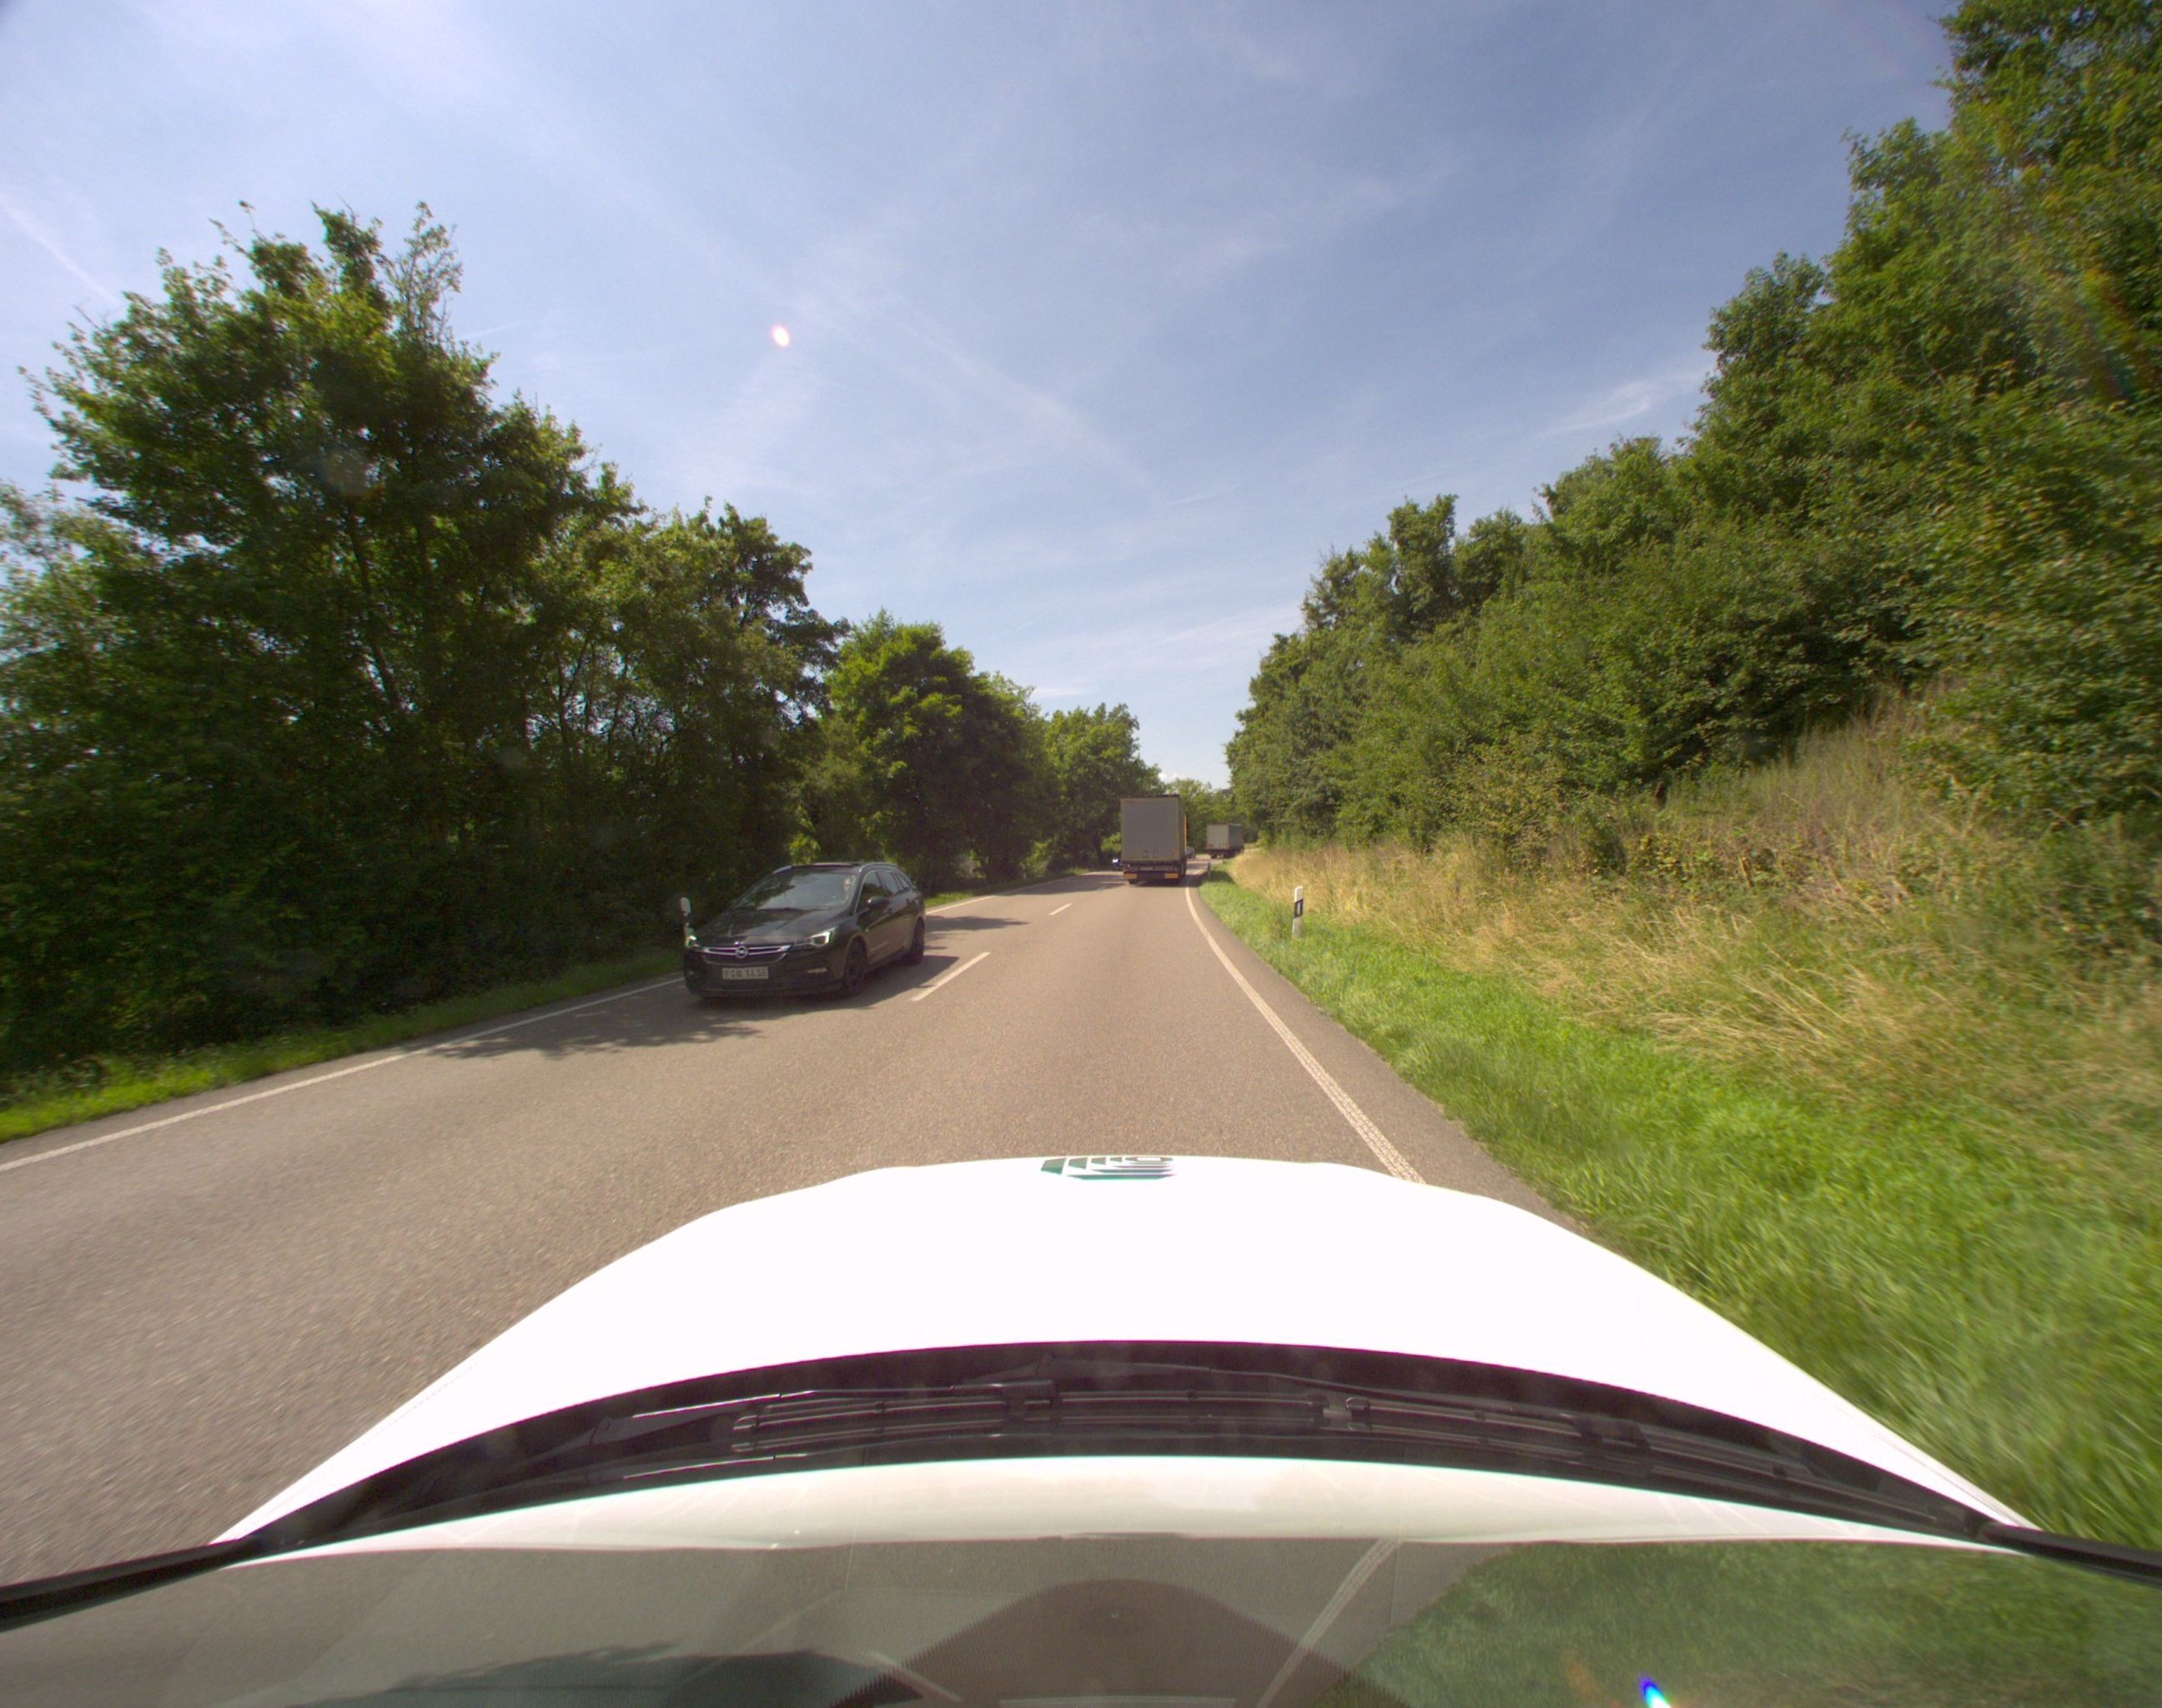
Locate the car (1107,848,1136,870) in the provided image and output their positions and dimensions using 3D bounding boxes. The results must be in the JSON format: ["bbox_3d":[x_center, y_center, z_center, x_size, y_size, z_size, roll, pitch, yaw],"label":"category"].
[{"bbox_3d":[3.038,0.364,60.376,1.660,1.531,3.968,-2,0,9],"label":"car"}]

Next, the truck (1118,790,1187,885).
[{"bbox_3d":[4.065,-0.869,42.621,2.786,4.068,15.361,0,1,8],"label":"truck"}]

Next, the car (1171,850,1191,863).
[{"bbox_3d":[12.017,0.252,97.631,1.746,1.432,4.286,-1,0,14],"label":"car"}]

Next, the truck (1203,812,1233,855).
[{"bbox_3d":[16.947,-2.463,99.710,3.085,4.705,16.642,-2,1,11],"label":"truck"}]

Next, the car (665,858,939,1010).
[{"bbox_3d":[-3.182,0.817,10.339,1.702,1.471,4.379,-1,0,4],"label":"car"}]
